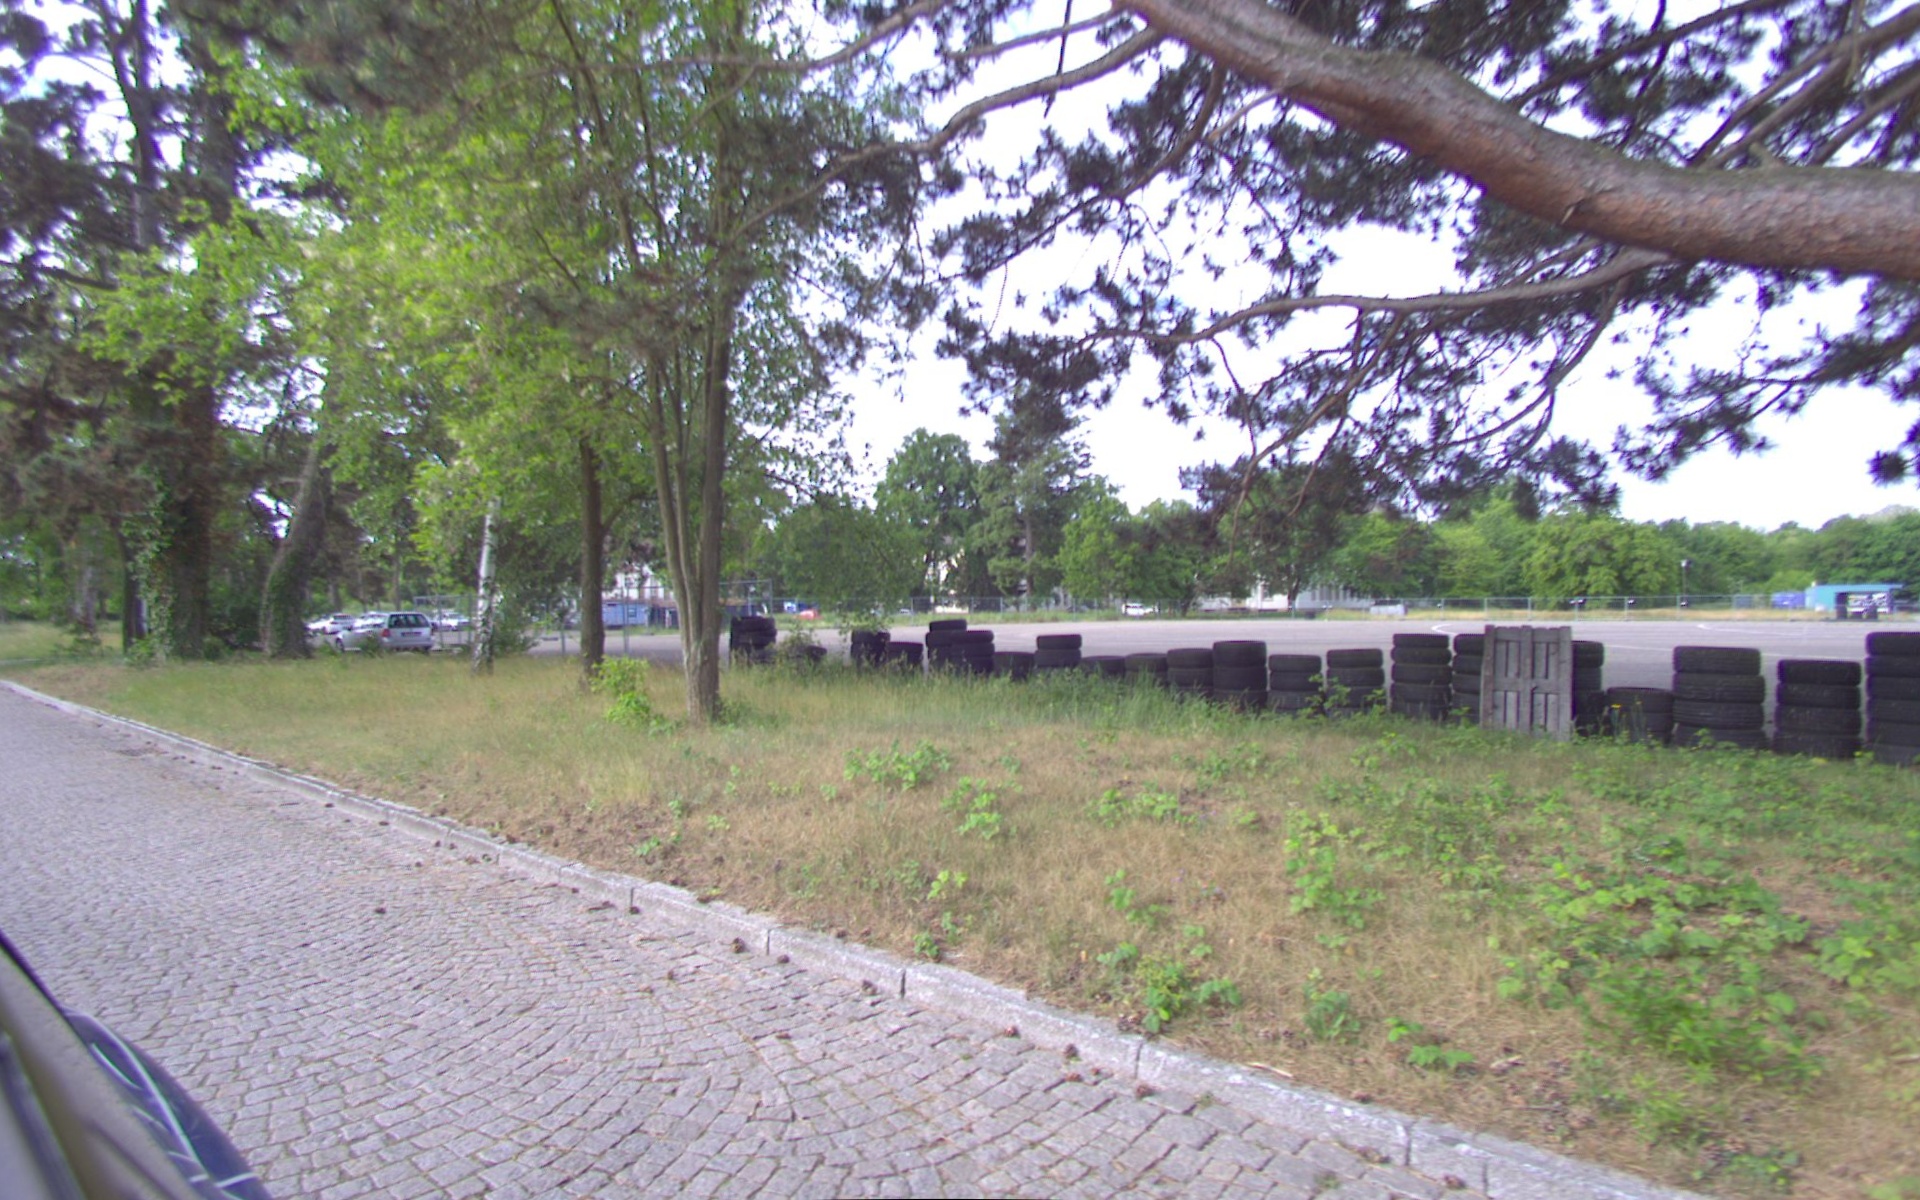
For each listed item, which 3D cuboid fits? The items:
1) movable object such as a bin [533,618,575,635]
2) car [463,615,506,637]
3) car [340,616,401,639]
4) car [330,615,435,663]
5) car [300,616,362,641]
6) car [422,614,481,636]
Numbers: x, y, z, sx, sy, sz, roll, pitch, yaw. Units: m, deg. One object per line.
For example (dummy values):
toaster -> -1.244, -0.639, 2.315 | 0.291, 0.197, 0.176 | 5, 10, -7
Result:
movable object such as a bin -> -25.406, 1.656, 63.279 | 2.713, 1.079, 1.046 | -1, -1, 33
car -> -38.896, 2.133, 82.781 | 3.797, 1.696, 1.592 | -1, -1, 36
car -> -38.715, 1.780, 66.457 | 4.447, 1.460, 1.975 | -1, -1, 38
car -> -18.251, 1.195, 31.911 | 3.719, 1.421, 1.649 | -1, -1, 39
car -> -39.966, 1.794, 64.261 | 4.447, 1.460, 1.975 | -1, -1, 38
car -> -35.674, 1.747, 70.967 | 4.447, 1.460, 1.975 | -1, -1, 38
